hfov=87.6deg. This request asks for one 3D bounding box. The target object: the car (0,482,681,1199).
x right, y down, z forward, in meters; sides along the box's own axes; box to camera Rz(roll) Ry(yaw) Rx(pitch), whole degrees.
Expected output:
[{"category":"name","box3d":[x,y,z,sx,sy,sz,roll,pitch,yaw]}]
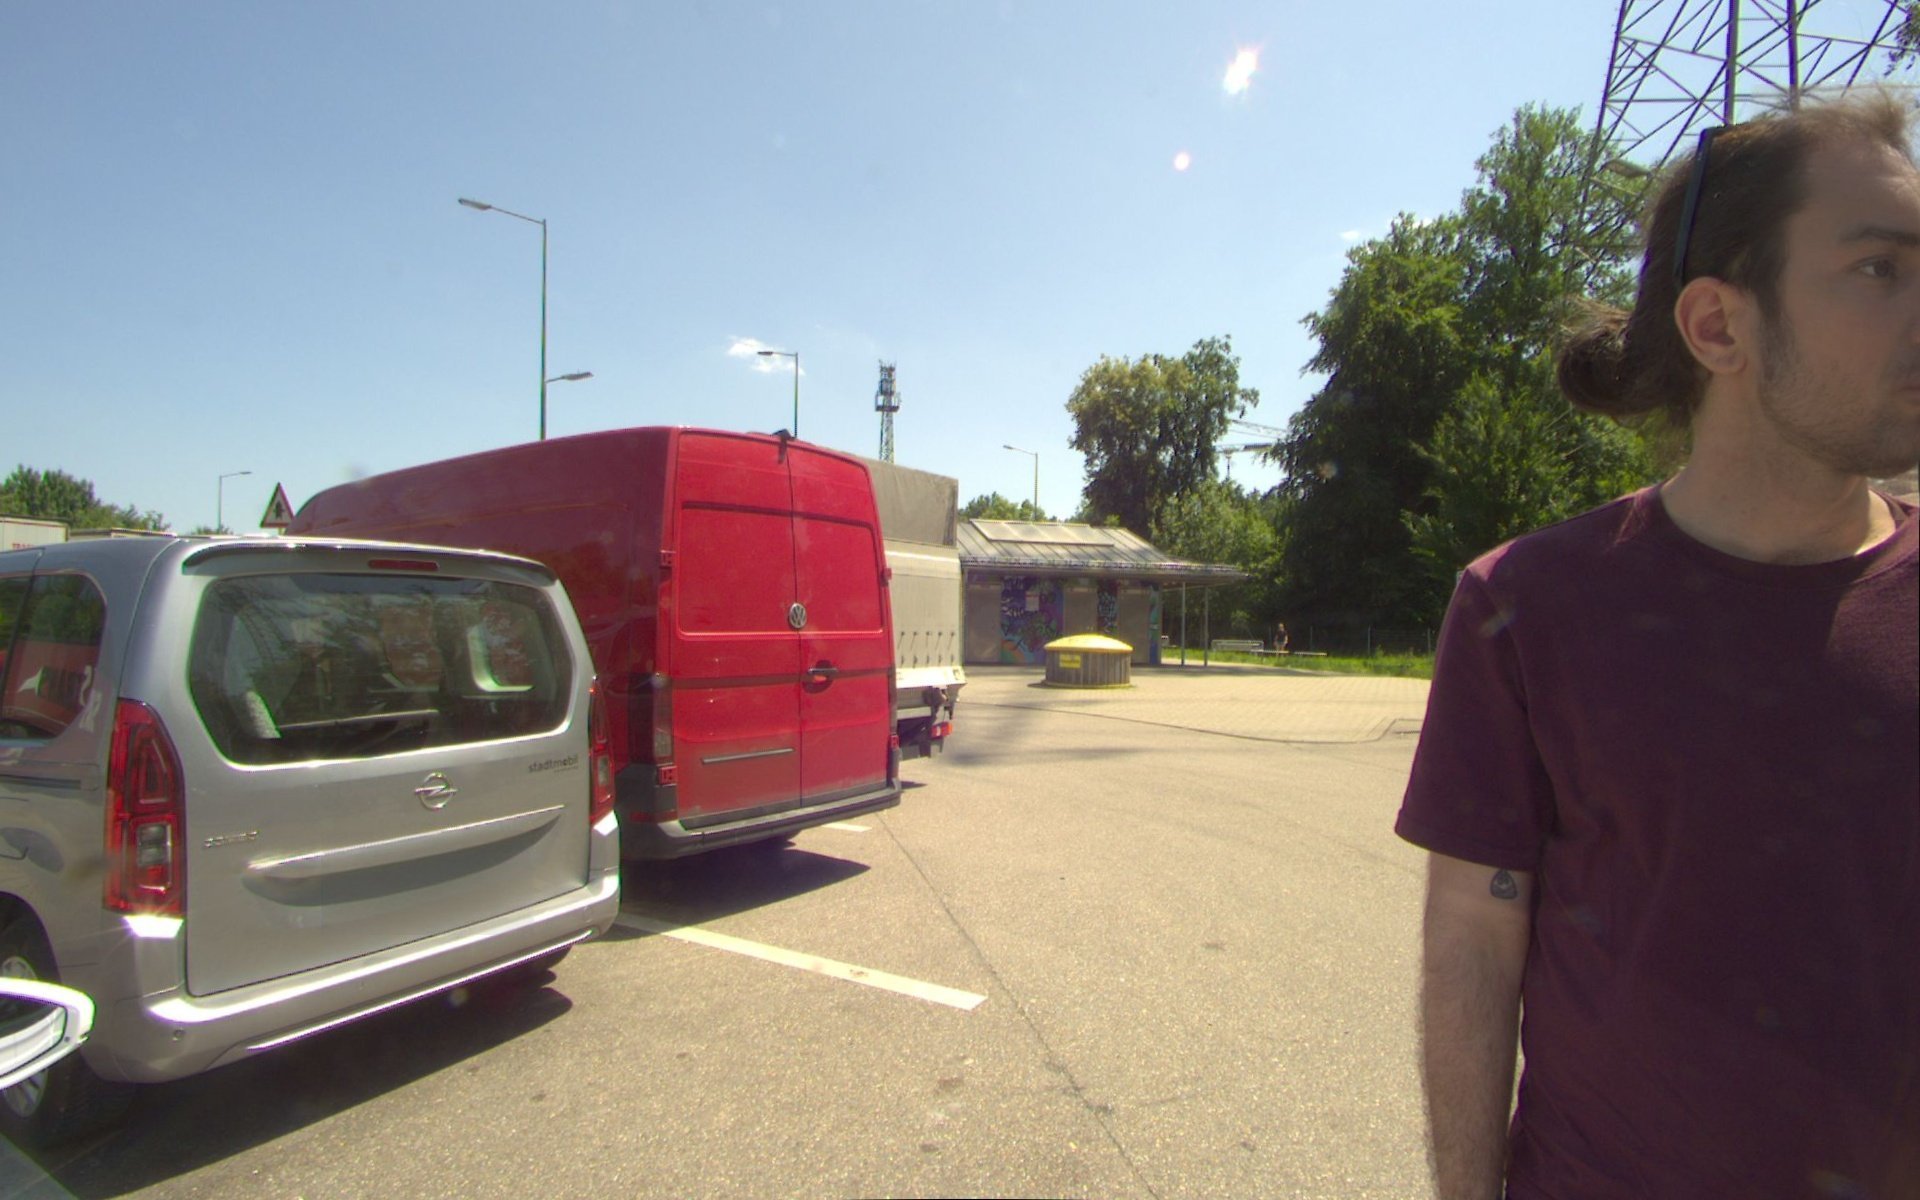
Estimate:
[{"category":"car","box3d":[-3.383,0.691,4.241,4.113,1.887,1.868,1,-2,31]}]

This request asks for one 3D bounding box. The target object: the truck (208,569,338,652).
[{"category":"truck","box3d":[-32.098,0.470,46.751,5.813,3.566,2.799,2,-2,32]}]

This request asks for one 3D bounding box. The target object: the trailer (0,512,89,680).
[{"category":"trailer","box3d":[-29.019,-0.258,28.132,14.184,4.040,2.808,2,-2,33]}]

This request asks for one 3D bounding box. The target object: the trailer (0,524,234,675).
[{"category":"trailer","box3d":[-27.956,-0.100,31.778,14.184,4.040,2.808,2,-2,33]}]

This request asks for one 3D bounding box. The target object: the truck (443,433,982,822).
[{"category":"truck","box3d":[-2.739,0.309,10.280,5.581,2.949,2.449,-2,-2,37]}]

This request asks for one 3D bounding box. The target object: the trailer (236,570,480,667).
[{"category":"trailer","box3d":[-26.103,0.650,42.894,14.184,3.552,2.808,2,-2,33]}]

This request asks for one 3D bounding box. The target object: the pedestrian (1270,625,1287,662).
[{"category":"pedestrian","box3d":[14.288,1.958,44.924,0.723,1.658,0.792,0,-1,16]}]

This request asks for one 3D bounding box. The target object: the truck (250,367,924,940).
[{"category":"truck","box3d":[-2.890,0.341,7.041,5.238,2.655,1.972,-2,-2,38]}]

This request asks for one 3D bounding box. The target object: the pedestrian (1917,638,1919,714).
[{"category":"pedestrian","box3d":[17.256,1.332,17.471,0.690,1.352,0.561,-1,-1,33]}]

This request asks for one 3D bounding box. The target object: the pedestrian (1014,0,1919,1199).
[{"category":"pedestrian","box3d":[0.639,0.476,0.837,0.851,1.857,0.858,-1,-2,39]}]
